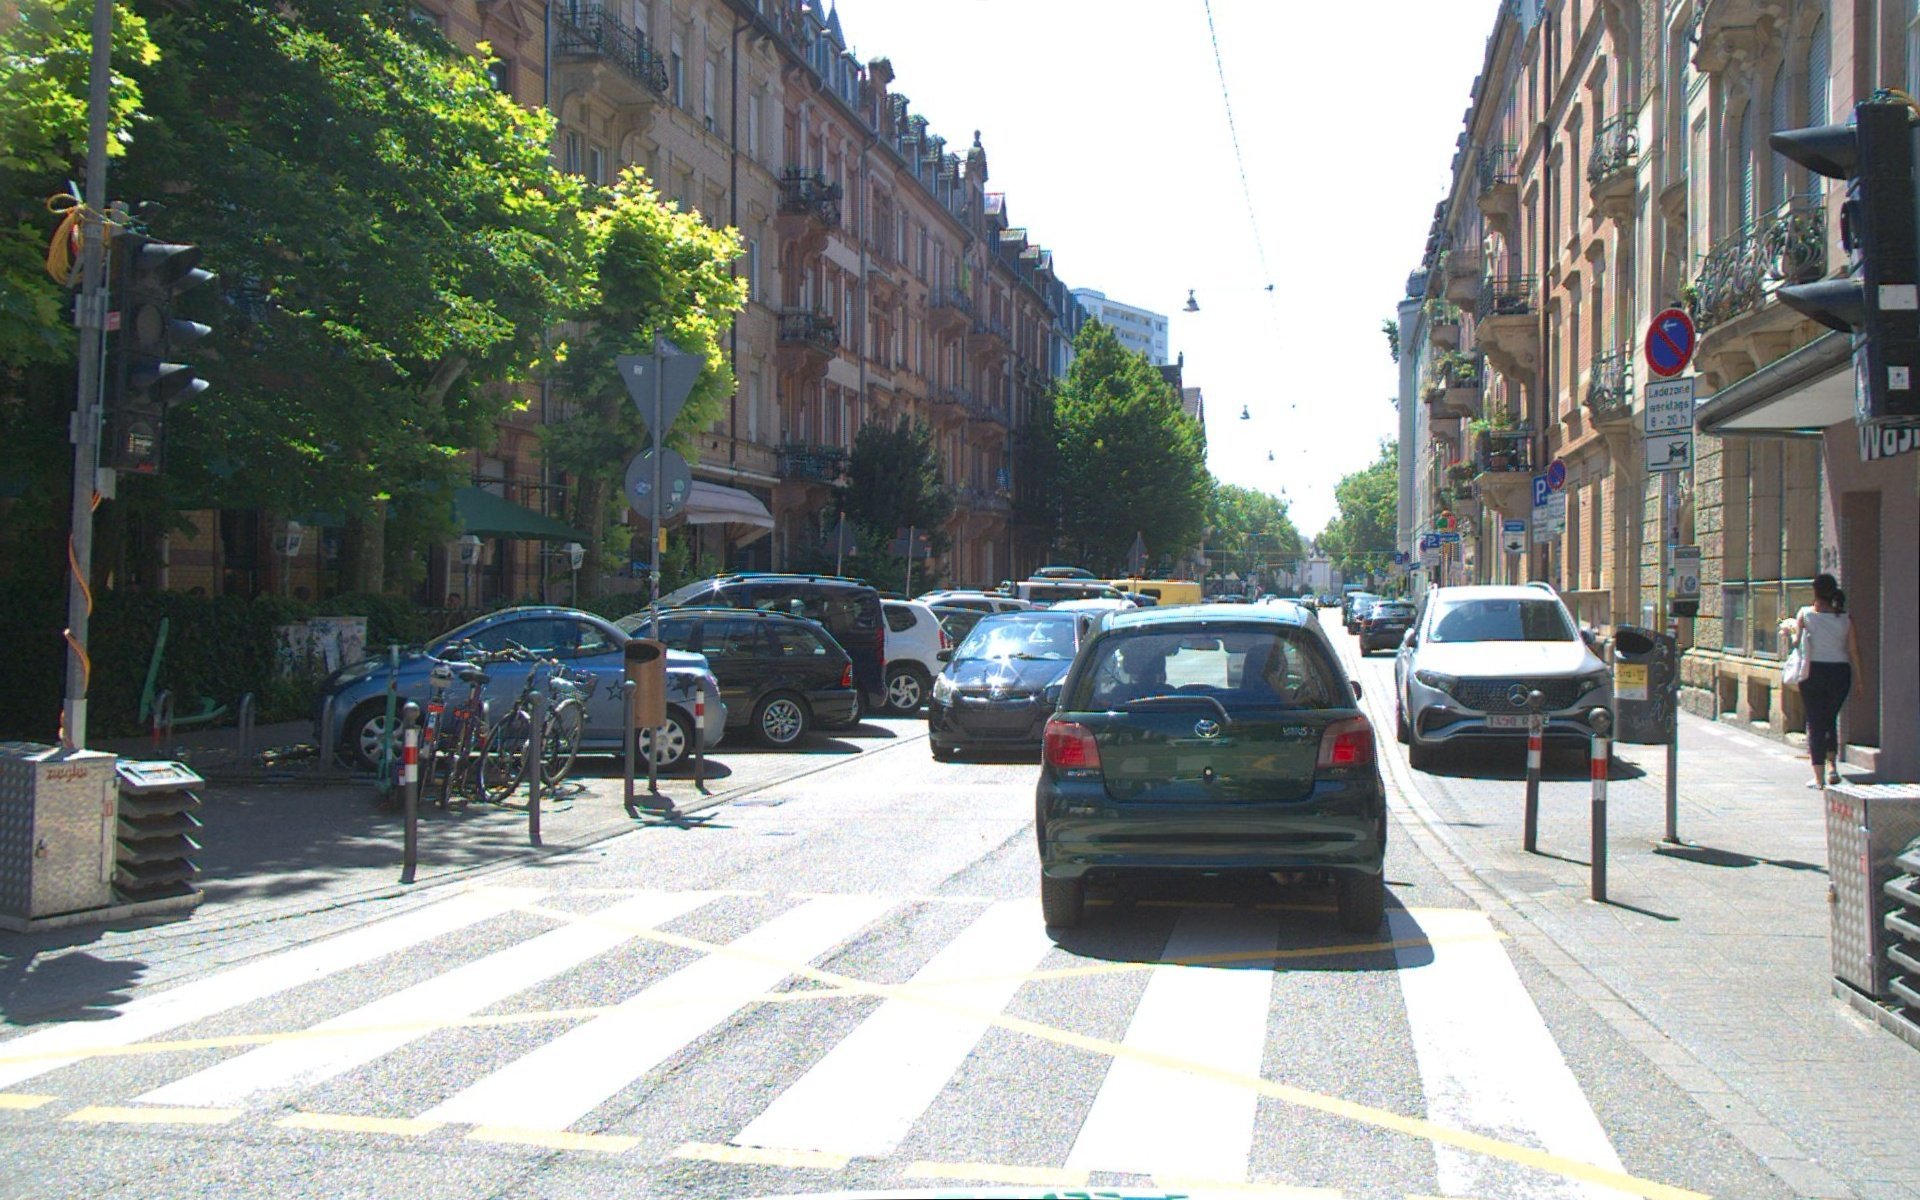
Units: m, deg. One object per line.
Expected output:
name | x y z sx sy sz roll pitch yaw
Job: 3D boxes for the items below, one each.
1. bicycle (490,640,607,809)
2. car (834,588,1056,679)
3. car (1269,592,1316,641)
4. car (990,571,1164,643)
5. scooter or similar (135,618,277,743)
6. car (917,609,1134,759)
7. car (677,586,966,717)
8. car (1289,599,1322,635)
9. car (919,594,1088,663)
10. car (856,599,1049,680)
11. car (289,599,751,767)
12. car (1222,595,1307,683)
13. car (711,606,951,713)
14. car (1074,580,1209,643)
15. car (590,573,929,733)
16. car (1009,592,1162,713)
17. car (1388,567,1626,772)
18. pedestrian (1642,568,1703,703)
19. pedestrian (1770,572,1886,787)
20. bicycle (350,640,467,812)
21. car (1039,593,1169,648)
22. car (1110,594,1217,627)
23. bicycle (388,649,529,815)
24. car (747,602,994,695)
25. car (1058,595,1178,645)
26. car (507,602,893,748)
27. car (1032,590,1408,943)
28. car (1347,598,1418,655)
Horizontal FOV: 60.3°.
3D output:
bicycle | -3.253 0.949 13.188 0.480 1.193 1.684 2 0 0
car | -0.285 0.613 31.763 3.865 1.647 1.849 0 0 -28
car | 11.346 0.534 56.344 1.490 1.620 3.266 0 0 13
car | 3.413 0.199 48.374 4.696 2.029 2.045 0 0 -16
scooter or similar | -7.363 0.759 16.207 0.272 1.140 1.470 3 1 21
car | 0.844 0.850 18.515 1.717 1.469 4.003 0 0 13
car | -2.009 0.709 23.523 3.915 1.687 1.756 2 0 -11
car | 16.202 0.785 77.619 1.490 1.620 3.267 0 0 11
car | 1.040 0.691 40.558 3.840 1.647 1.861 0 0 -11
car | -0.194 0.816 35.124 3.840 1.647 1.861 0 0 -11
car | -4.097 0.768 15.646 3.923 1.399 1.991 2 0 -17
car | 5.832 0.694 31.465 1.490 1.547 3.267 0 0 12
car | -2.024 0.900 25.531 3.552 1.483 1.621 2 0 -10
car | 6.574 0.418 59.987 4.481 2.226 1.993 0 0 -15
car | -2.528 0.645 20.589 3.923 1.836 1.761 2 0 -17
car | 2.068 0.770 26.181 1.717 1.674 4.381 -3 -1 13
car | 5.293 0.618 16.530 1.831 1.743 4.507 -2 0 13
pedestrian | 9.586 0.467 22.267 0.501 1.781 0.750 -2 0 6
pedestrian | 6.899 0.608 13.180 0.627 1.652 0.805 0 0 13
bicycle | -4.224 0.929 12.749 0.331 1.177 1.620 2 0 0
car | 4.621 0.645 53.447 3.840 1.738 1.861 0 0 -11
car | 9.369 0.475 76.294 4.481 1.459 1.993 0 0 -15
bicycle | -3.819 0.967 12.734 0.480 1.100 1.899 2 0 0
car | -1.543 0.797 28.572 3.862 1.496 1.850 0 0 -26
car | 5.413 0.693 56.808 3.792 1.668 1.781 0 0 -11
car | -2.908 0.817 18.318 3.927 1.437 1.960 2 0 -20
car | 1.289 0.744 8.799 1.579 1.511 3.243 -1 -1 6
car | 11.316 0.677 44.465 1.717 1.454 4.003 0 0 13
